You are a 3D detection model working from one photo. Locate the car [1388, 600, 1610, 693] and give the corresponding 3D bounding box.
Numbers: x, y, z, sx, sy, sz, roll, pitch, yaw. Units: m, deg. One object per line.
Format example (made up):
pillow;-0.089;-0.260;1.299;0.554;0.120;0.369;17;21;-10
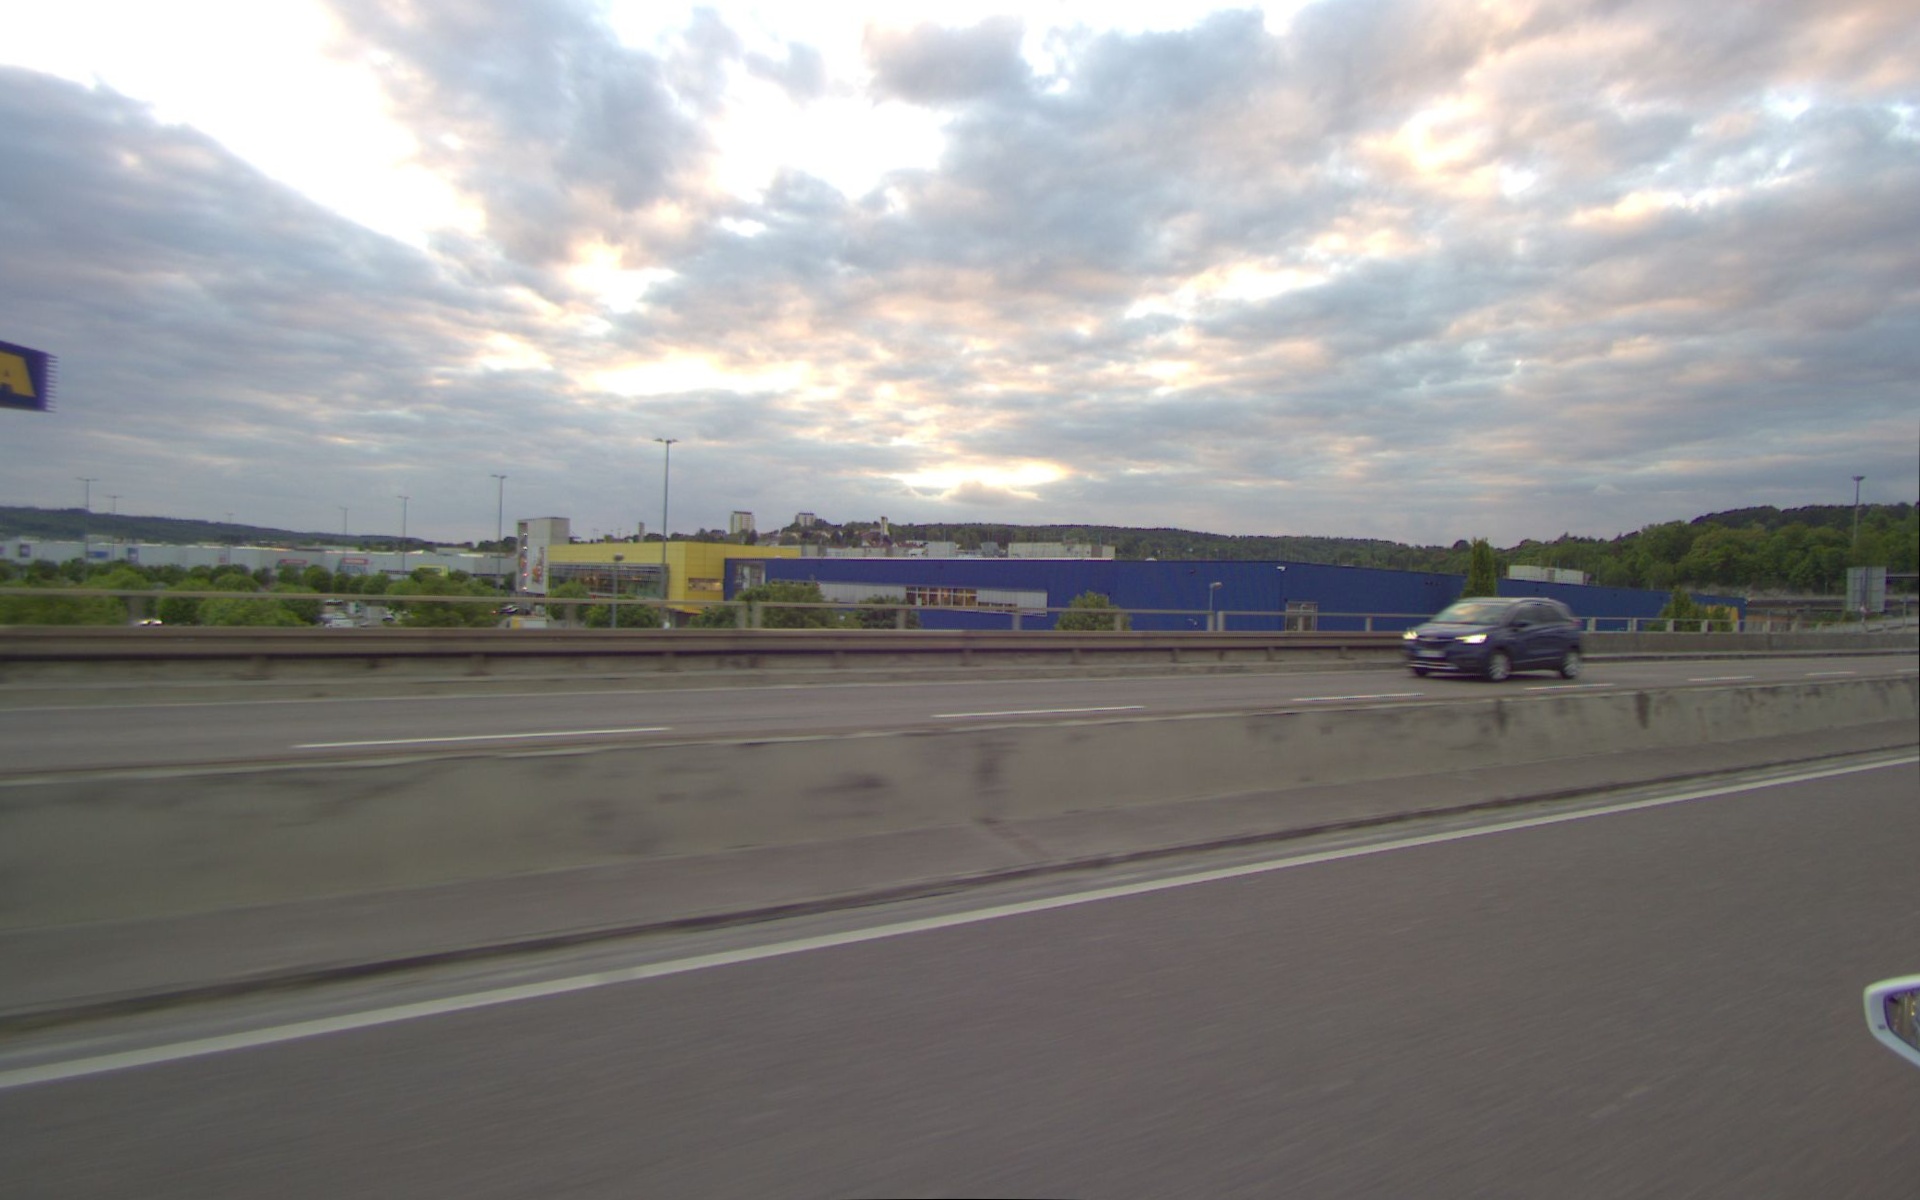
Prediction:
car;10.681;0.878;19.815;4.393;1.627;1.965;2;0;-33
